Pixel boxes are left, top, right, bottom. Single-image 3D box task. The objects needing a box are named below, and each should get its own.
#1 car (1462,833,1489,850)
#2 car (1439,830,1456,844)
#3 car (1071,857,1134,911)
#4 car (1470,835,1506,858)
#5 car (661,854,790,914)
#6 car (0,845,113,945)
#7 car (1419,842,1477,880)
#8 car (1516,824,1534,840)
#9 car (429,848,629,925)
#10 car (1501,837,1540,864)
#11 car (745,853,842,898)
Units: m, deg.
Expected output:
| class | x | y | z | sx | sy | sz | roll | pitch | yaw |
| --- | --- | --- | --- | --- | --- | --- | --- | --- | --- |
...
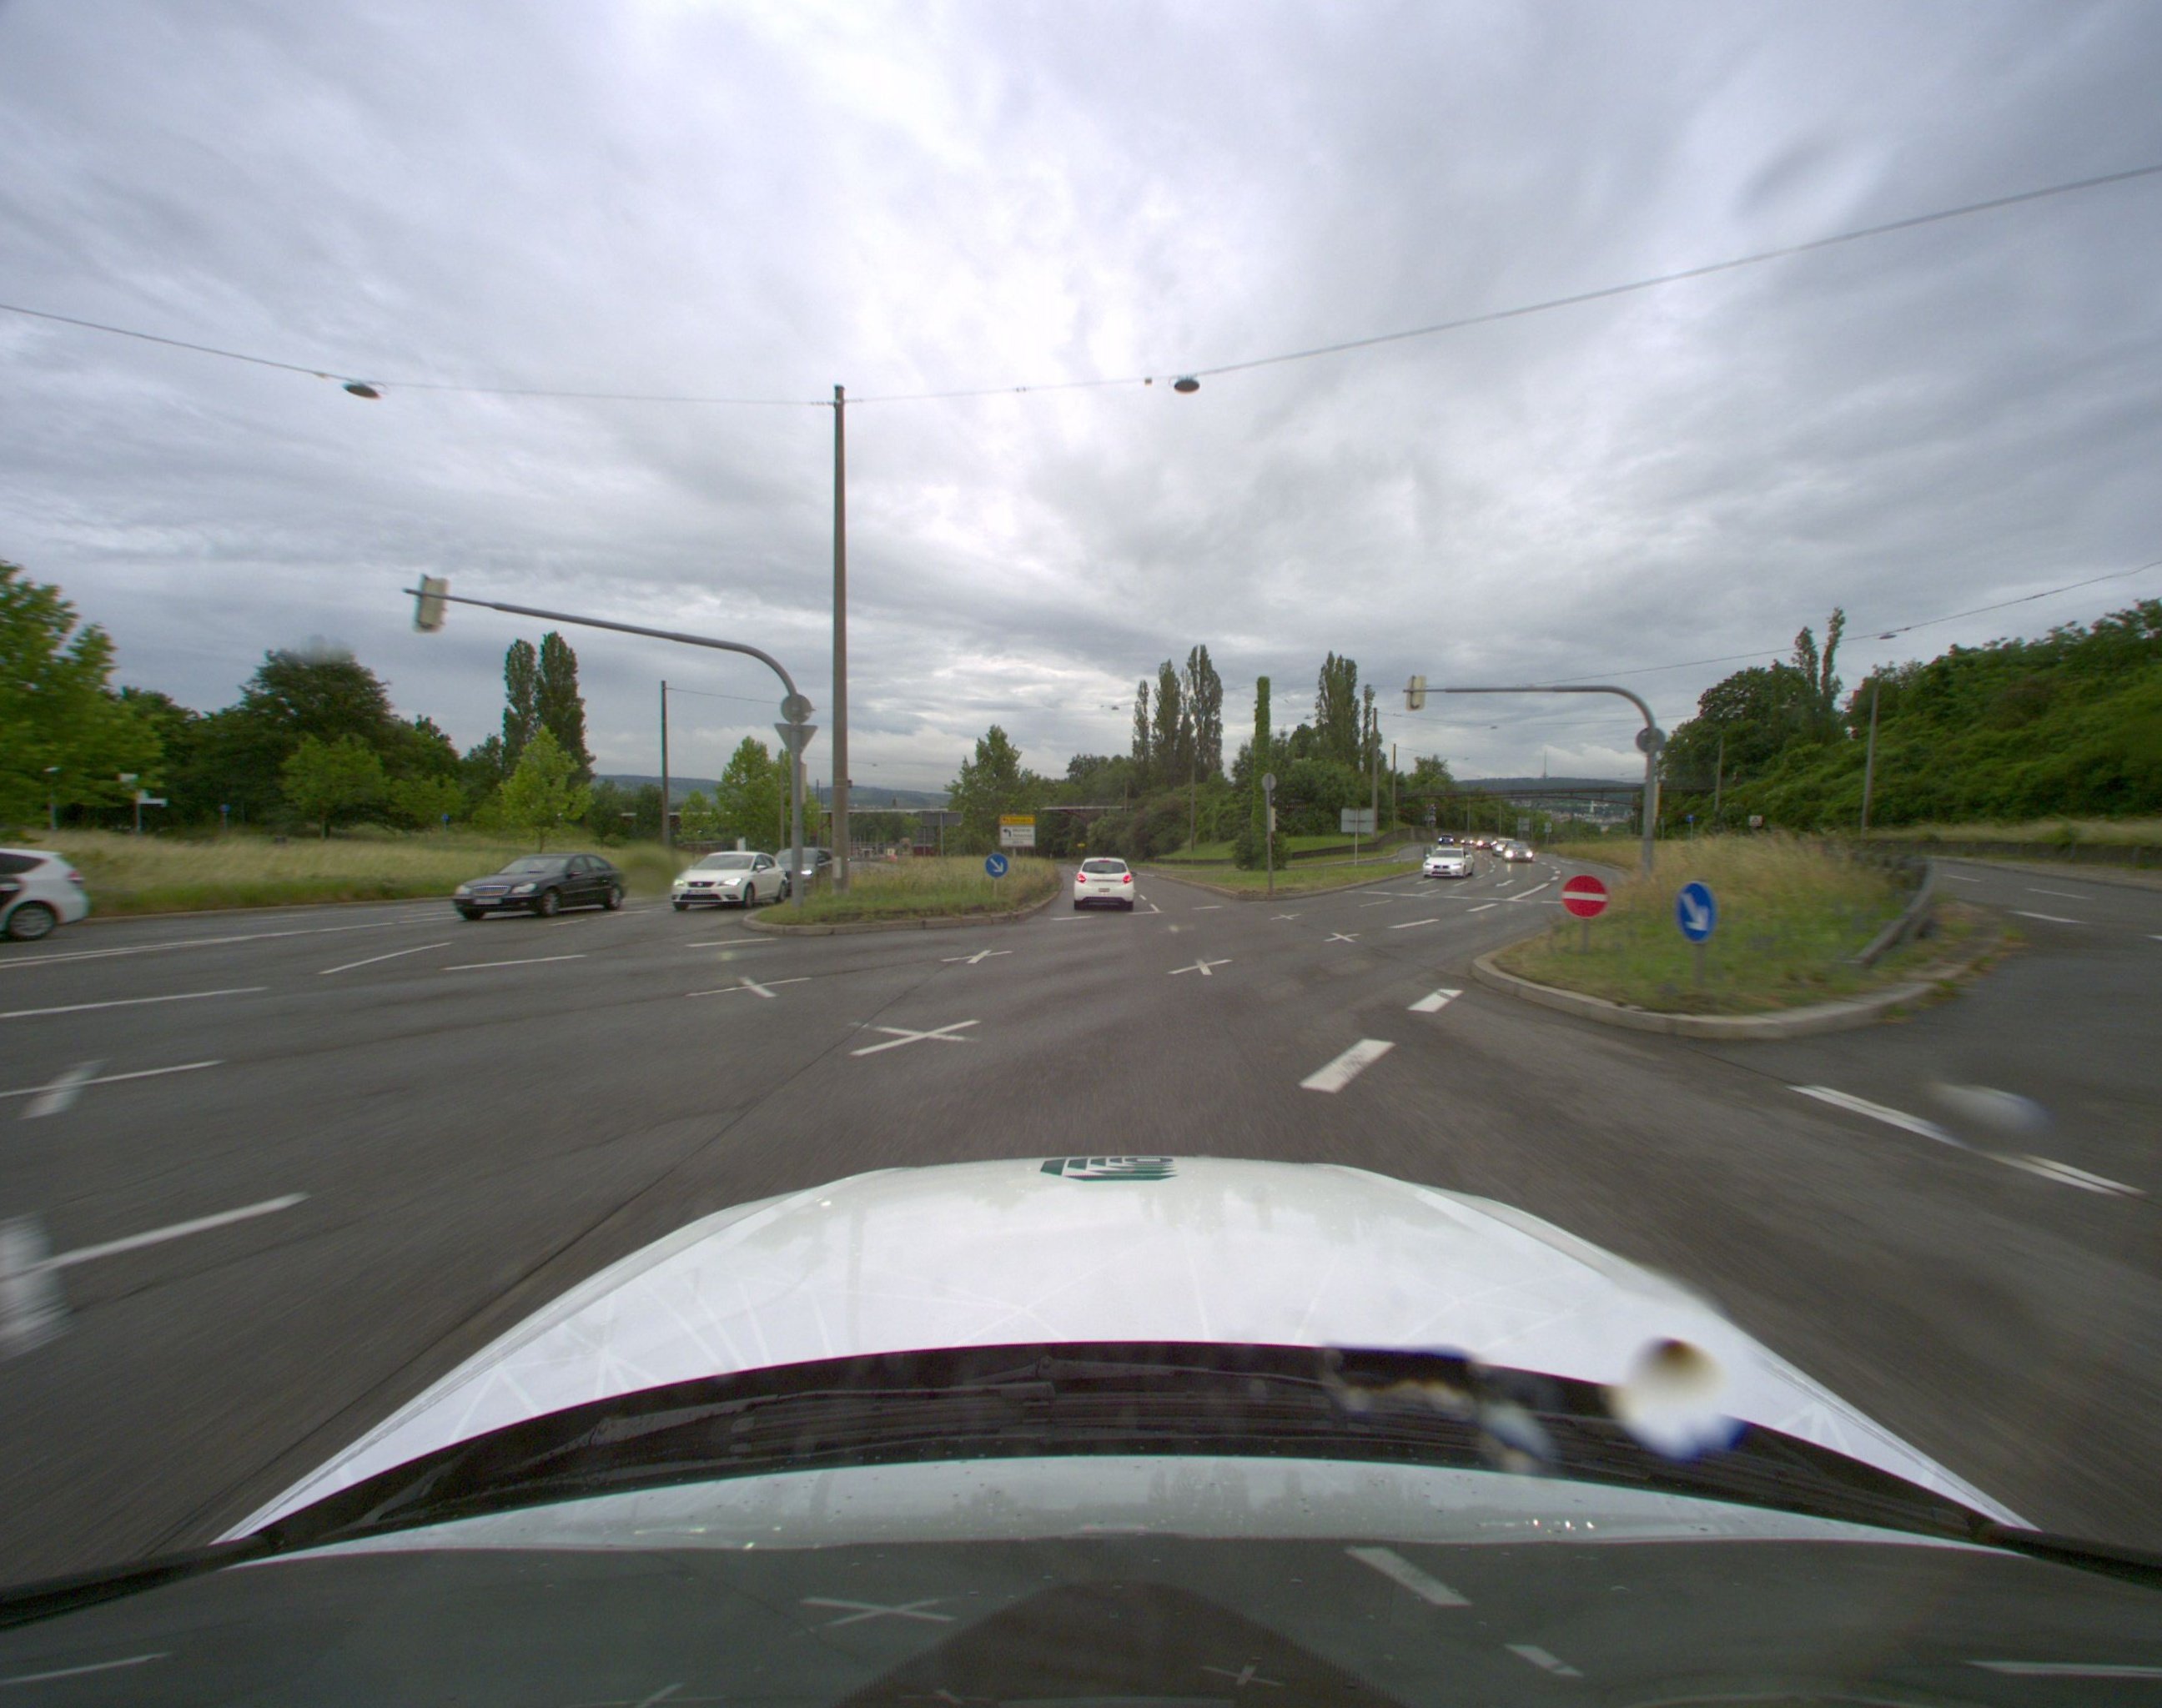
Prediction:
| class | x | y | z | sx | sy | sz | roll | pitch | yaw |
| --- | --- | --- | --- | --- | --- | --- | --- | --- | --- |
| car | 42.206 | -1.391 | 87.129 | 1.978 | 1.617 | 4.393 | 1 | 3 | 18 |
| car | 48.862 | -2.293 | 108.542 | 1.861 | 1.653 | 4.150 | 2 | 3 | 26 |
| car | 0.641 | 0.850 | 24.065 | 1.702 | 1.440 | 3.691 | -1 | -1 | 1 |
| car | 33.404 | -0.643 | 66.967 | 1.978 | 1.617 | 4.393 | 1 | 3 | 18 |
| car | -8.964 | 0.727 | 20.909 | 1.734 | 1.373 | 3.994 | 0 | -1 | -4 |
| car | -18.381 | 0.645 | 12.284 | 1.879 | 1.611 | 4.676 | 0 | -1 | 1 |
| car | 18.110 | 0.295 | 40.098 | 1.974 | 1.617 | 4.026 | 2 | 4 | 33 |
| car | 63.824 | -3.197 | 117.056 | 2.055 | 2.083 | 4.399 | 2 | 3 | 26 |
| car | -12.190 | 0.700 | 18.366 | 1.891 | 1.537 | 3.995 | 0 | -1 | -3 |
| car | 31.119 | -0.283 | 57.630 | 1.974 | 1.617 | 4.400 | 2 | 4 | 33 |
| car | -9.656 | 0.670 | 27.660 | 1.889 | 1.324 | 4.000 | 0 | 1 | 0 |
